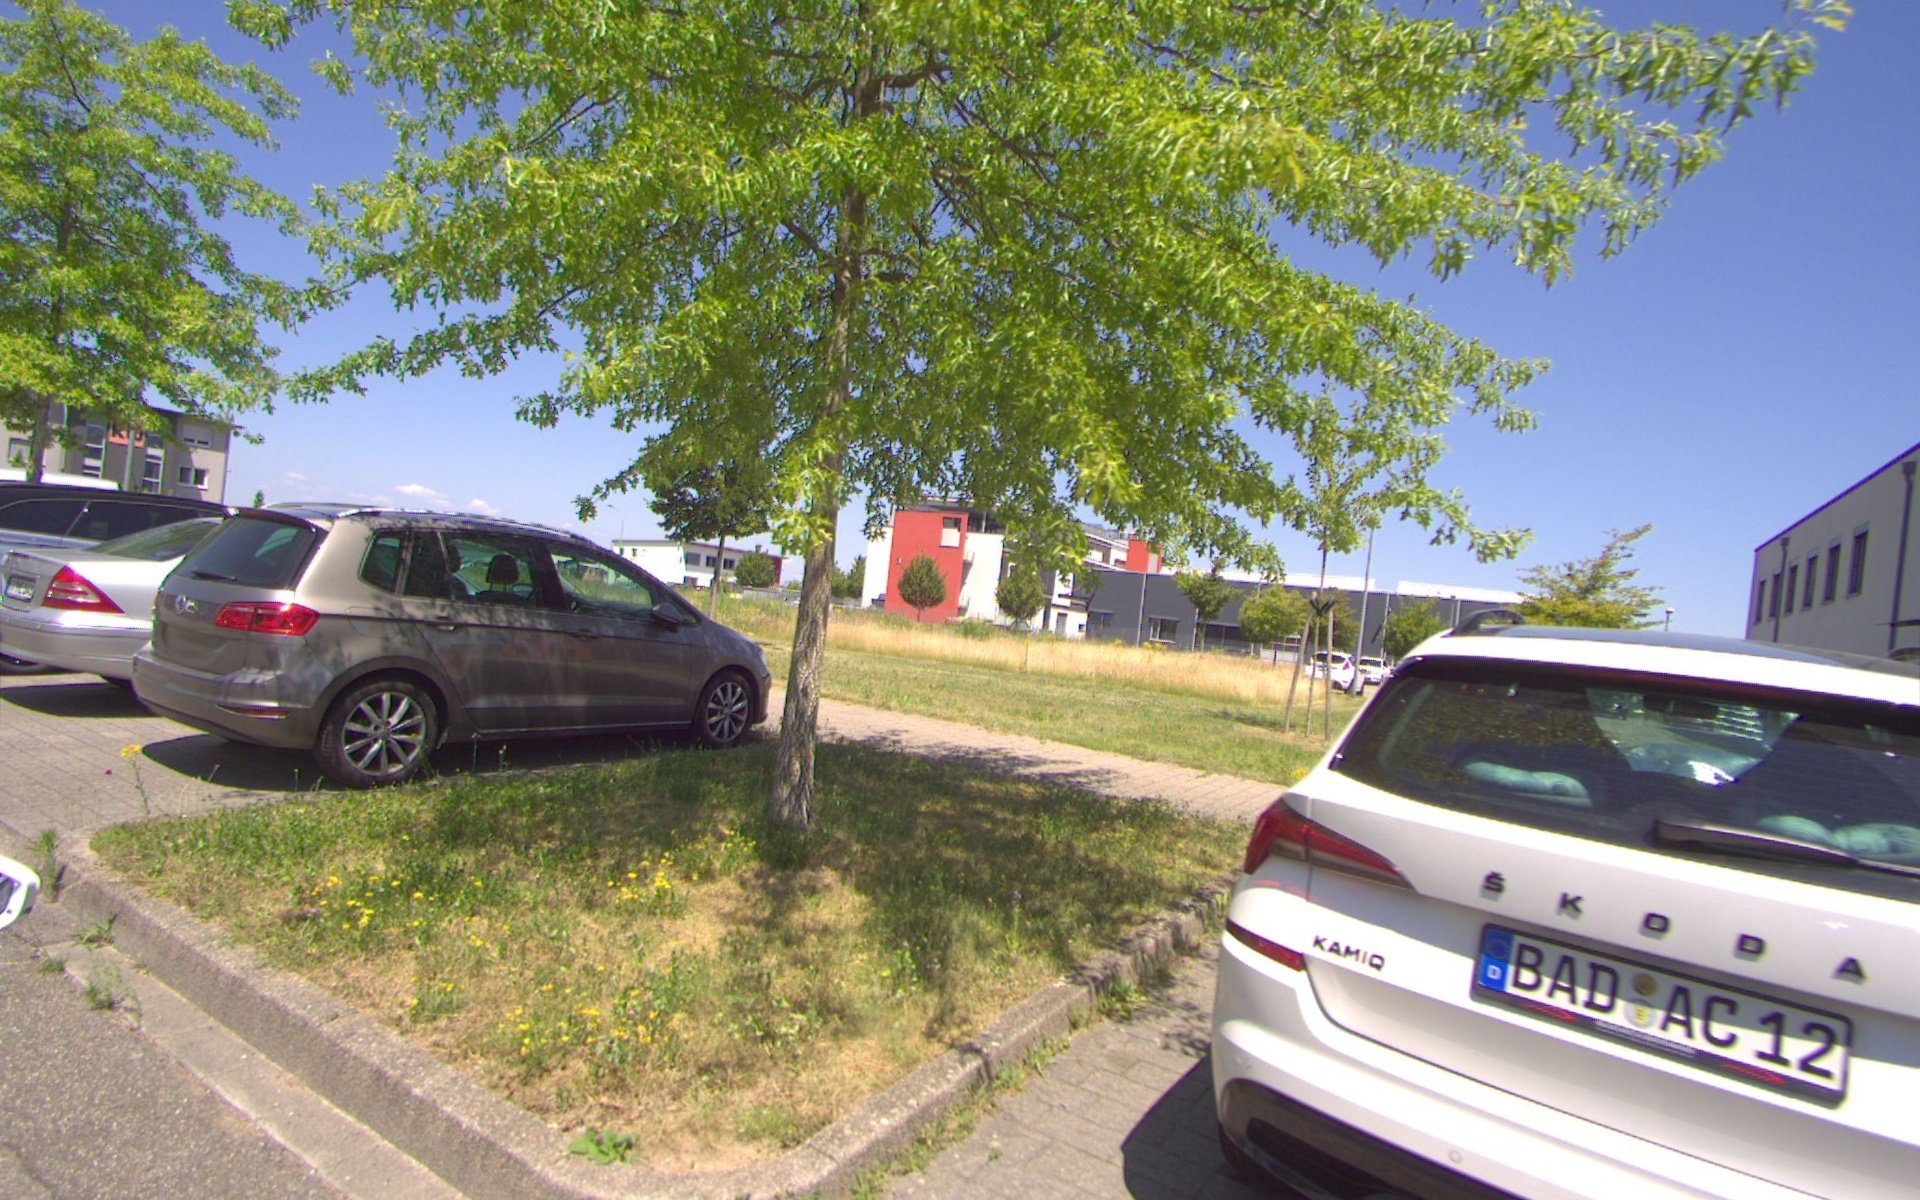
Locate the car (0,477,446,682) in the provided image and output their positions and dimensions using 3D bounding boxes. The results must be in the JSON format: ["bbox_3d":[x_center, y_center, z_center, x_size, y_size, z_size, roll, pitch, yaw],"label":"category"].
[{"bbox_3d":[-7.607,-0.183,9.370,1.880,1.581,4.723,6,1,28],"label":"car"}]

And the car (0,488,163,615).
[{"bbox_3d":[-12.740,-0.712,12.845,1.649,1.522,3.633,6,0,32],"label":"car"}]

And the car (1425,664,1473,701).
[{"bbox_3d":[23.954,4.017,49.230,1.690,1.528,3.993,6,-1,30],"label":"car"}]

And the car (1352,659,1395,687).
[{"bbox_3d":[25.133,4.445,61.040,1.691,1.470,3.991,6,-1,32],"label":"car"}]

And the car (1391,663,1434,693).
[{"bbox_3d":[26.885,4.632,59.733,1.691,1.528,3.991,6,-1,32],"label":"car"}]

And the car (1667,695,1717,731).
[{"bbox_3d":[38.448,5.896,52.907,1.691,1.528,3.991,6,-1,32],"label":"car"}]

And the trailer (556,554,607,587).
[{"bbox_3d":[-36.596,-2.829,97.359,2.195,2.632,3.993,6,0,30],"label":"trailer"}]

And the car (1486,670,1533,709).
[{"bbox_3d":[25.995,4.194,47.525,1.690,1.528,3.993,6,-1,30],"label":"car"}]

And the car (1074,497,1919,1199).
[{"bbox_3d":[2.158,0.788,3.149,1.752,1.572,3.833,7,0,37],"label":"car"}]

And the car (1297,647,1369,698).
[{"bbox_3d":[13.340,2.586,35.869,1.691,1.528,3.327,6,0,32],"label":"car"}]

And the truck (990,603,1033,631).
[{"bbox_3d":[4.520,1.486,87.628,1.967,2.038,3.992,6,0,31],"label":"truck"}]

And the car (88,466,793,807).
[{"bbox_3d":[-3.223,0.224,7.082,1.665,1.646,4.049,6,1,32],"label":"car"}]

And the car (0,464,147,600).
[{"bbox_3d":[-14.768,-1.114,14.462,1.766,1.853,4.405,6,0,32],"label":"car"}]

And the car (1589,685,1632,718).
[{"bbox_3d":[35.420,5.492,54.847,1.691,1.528,3.991,6,-1,32],"label":"car"}]

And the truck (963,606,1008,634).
[{"bbox_3d":[2.292,1.786,88.674,1.967,2.038,4.348,6,0,31],"label":"truck"}]

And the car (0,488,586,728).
[{"bbox_3d":[-5.386,0.087,8.357,1.618,1.471,4.049,6,1,32],"label":"car"}]
